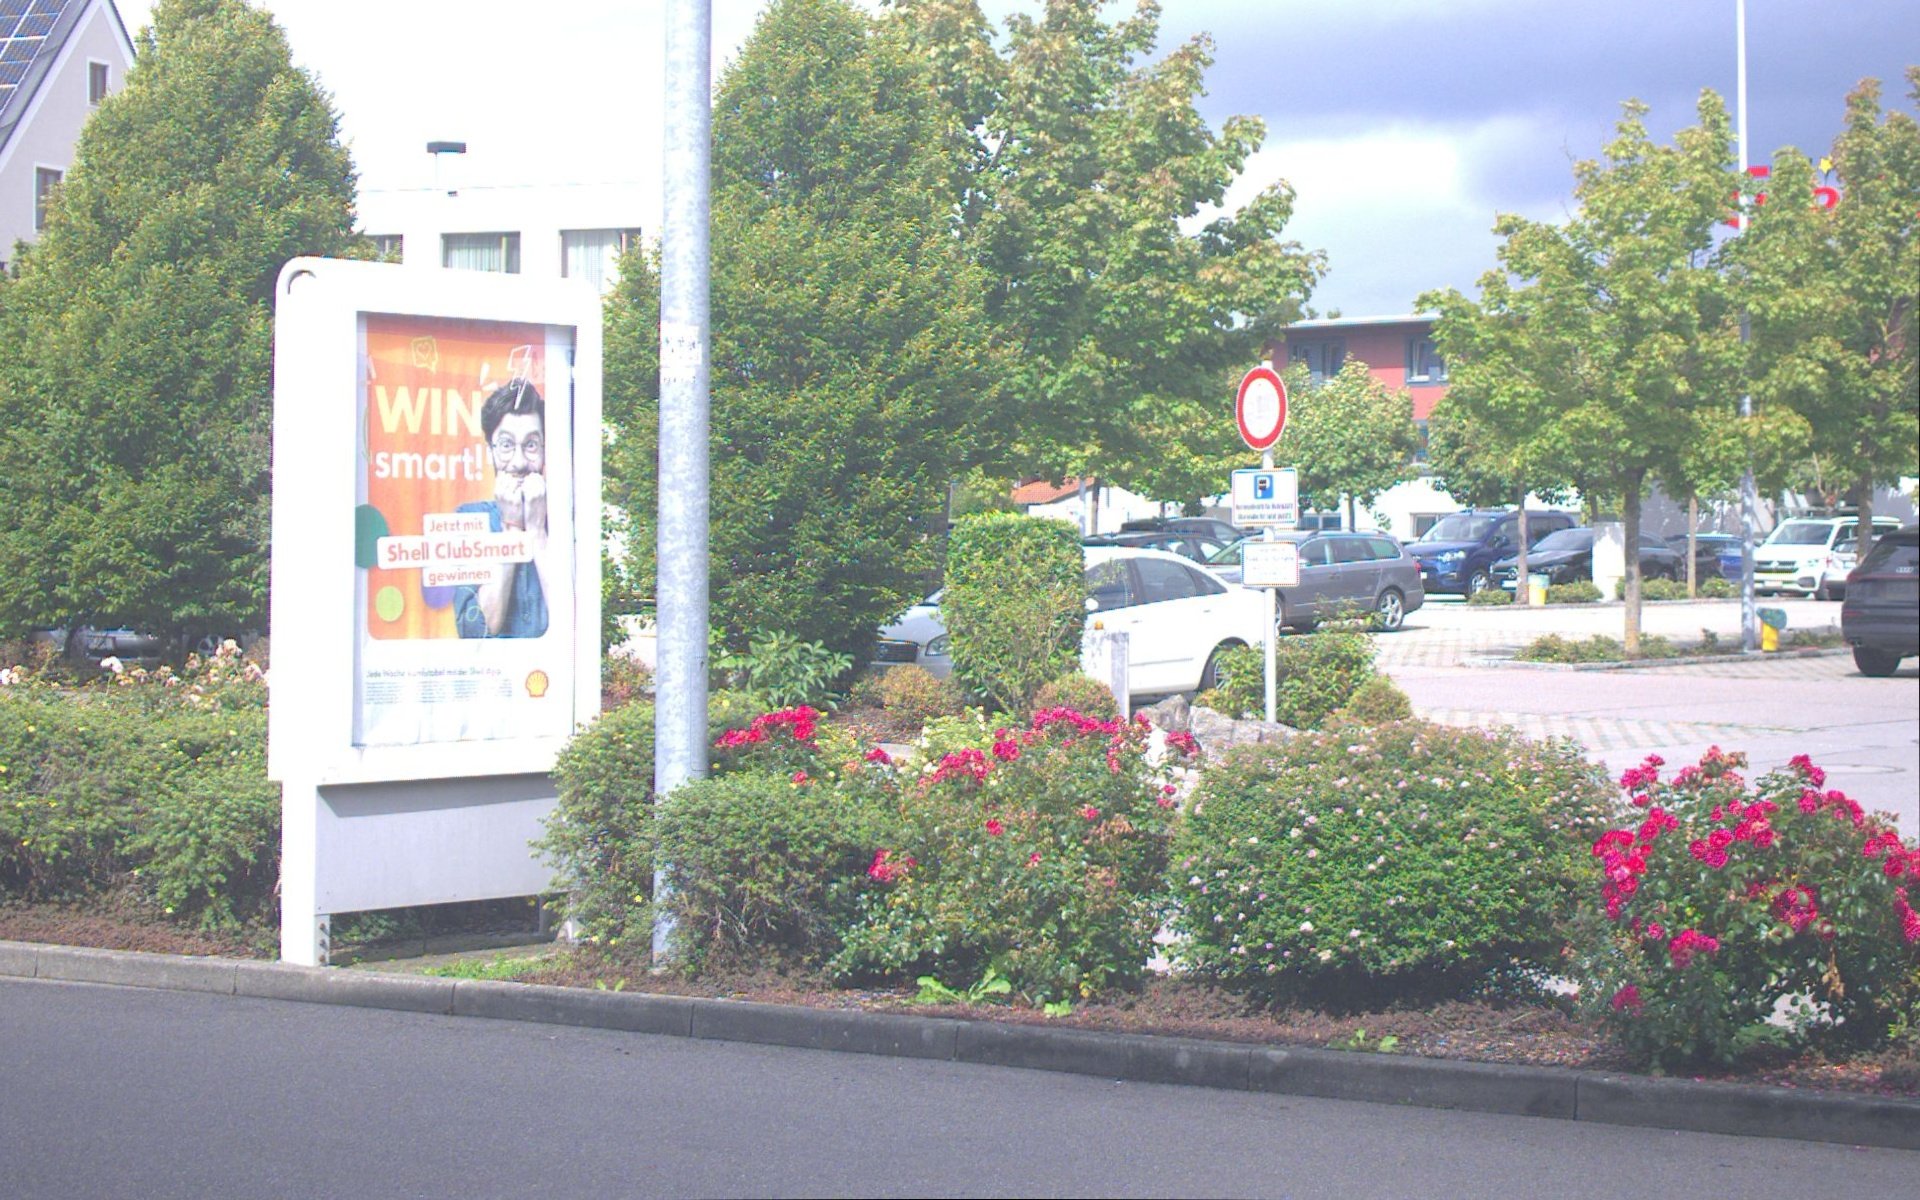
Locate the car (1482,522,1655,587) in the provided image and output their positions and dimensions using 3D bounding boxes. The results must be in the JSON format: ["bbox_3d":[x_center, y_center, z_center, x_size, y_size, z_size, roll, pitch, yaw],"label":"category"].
[{"bbox_3d":[11.530,-0.851,65.046,3.409,1.174,1.485,0,1,-44],"label":"car"}]

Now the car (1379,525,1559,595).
[{"bbox_3d":[9.901,-0.770,66.794,3.379,1.316,1.747,0,1,-44],"label":"car"}]

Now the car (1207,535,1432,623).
[{"bbox_3d":[5.215,-0.299,49.728,3.218,1.224,1.505,0,1,-44],"label":"car"}]

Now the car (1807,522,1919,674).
[{"bbox_3d":[11.145,-0.015,36.741,4.491,1.543,1.885,0,1,-43],"label":"car"}]

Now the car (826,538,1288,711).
[{"bbox_3d":[0.915,0.197,29.939,4.332,1.399,1.370,0,1,-44],"label":"car"}]

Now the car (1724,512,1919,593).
[{"bbox_3d":[20.264,-1.099,80.651,4.864,1.827,2.184,0,1,-43],"label":"car"}]
